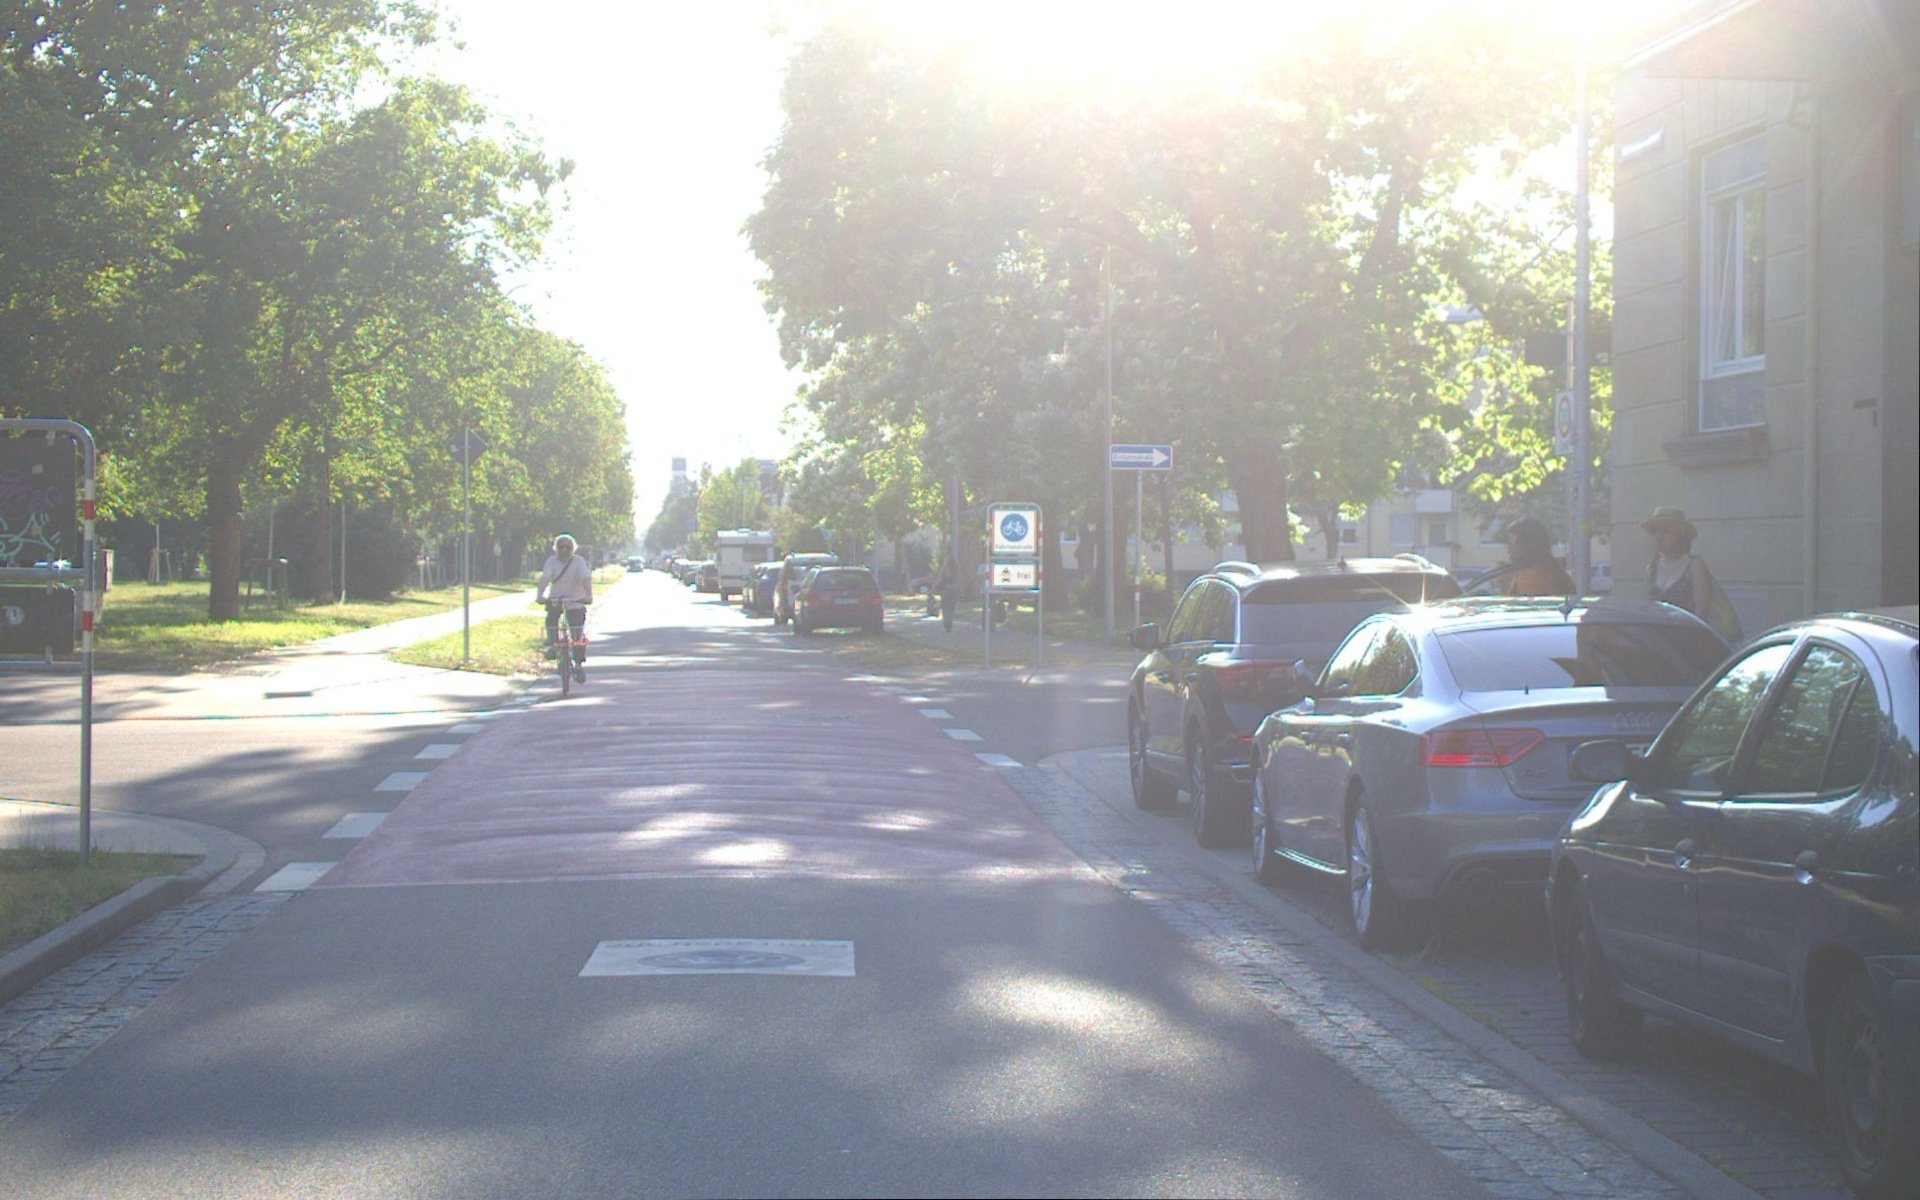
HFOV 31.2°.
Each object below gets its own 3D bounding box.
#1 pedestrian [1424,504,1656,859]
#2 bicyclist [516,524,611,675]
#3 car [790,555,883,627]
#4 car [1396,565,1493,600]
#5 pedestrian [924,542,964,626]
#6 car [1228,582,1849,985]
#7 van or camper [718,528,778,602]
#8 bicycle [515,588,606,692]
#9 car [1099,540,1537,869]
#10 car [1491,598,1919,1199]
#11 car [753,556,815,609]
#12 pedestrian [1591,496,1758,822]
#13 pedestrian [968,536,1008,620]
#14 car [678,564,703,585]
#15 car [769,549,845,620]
[{"bbox_3d":[2.964,0.404,17.632,0.952,1.763,0.779,1,1,-6],"label":"pedestrian"},{"bbox_3d":[-4.541,-0.008,39.386,0.937,1.697,0.905,1,0,1],"label":"bicyclist"},{"bbox_3d":[-2.680,-0.193,73.580,1.678,1.481,4.810,0,0,-6],"label":"car"},{"bbox_3d":[21.450,-0.767,152.204,3.991,1.547,1.608,0,0,22],"label":"car"},{"bbox_3d":[-0.337,-0.341,71.737,0.753,1.730,0.732,1,1,-5],"label":"pedestrian"},{"bbox_3d":[2.282,0.656,14.709,1.703,1.415,4.349,-2,0,-3],"label":"car"},{"bbox_3d":[-8.669,-1.379,140.199,2.233,2.894,5.674,0,-1,-6],"label":"van or camper"},{"bbox_3d":[-4.556,0.439,39.303,0.738,1.131,2.104,1,1,1],"label":"bicycle"},{"bbox_3d":[1.961,0.503,20.101,1.703,1.620,4.349,-2,2,-5],"label":"car"},{"bbox_3d":[2.773,0.726,9.513,1.703,1.415,4.036,-2,0,-4],"label":"car"},{"bbox_3d":[-5.287,-0.519,102.929,1.731,1.545,4.276,0,0,-4],"label":"car"},{"bbox_3d":[4.088,0.327,19.666,0.729,1.824,0.556,1,1,-41],"label":"pedestrian"},{"bbox_3d":[0.590,-0.465,71.804,0.725,1.730,0.732,1,1,-5],"label":"pedestrian"},{"bbox_3d":[-18.402,-1.742,234.751,1.626,1.405,4.250,0,0,-6],"label":"car"},{"bbox_3d":[-3.915,-0.394,87.567,1.678,1.734,4.515,0,0,-6],"label":"car"}]
